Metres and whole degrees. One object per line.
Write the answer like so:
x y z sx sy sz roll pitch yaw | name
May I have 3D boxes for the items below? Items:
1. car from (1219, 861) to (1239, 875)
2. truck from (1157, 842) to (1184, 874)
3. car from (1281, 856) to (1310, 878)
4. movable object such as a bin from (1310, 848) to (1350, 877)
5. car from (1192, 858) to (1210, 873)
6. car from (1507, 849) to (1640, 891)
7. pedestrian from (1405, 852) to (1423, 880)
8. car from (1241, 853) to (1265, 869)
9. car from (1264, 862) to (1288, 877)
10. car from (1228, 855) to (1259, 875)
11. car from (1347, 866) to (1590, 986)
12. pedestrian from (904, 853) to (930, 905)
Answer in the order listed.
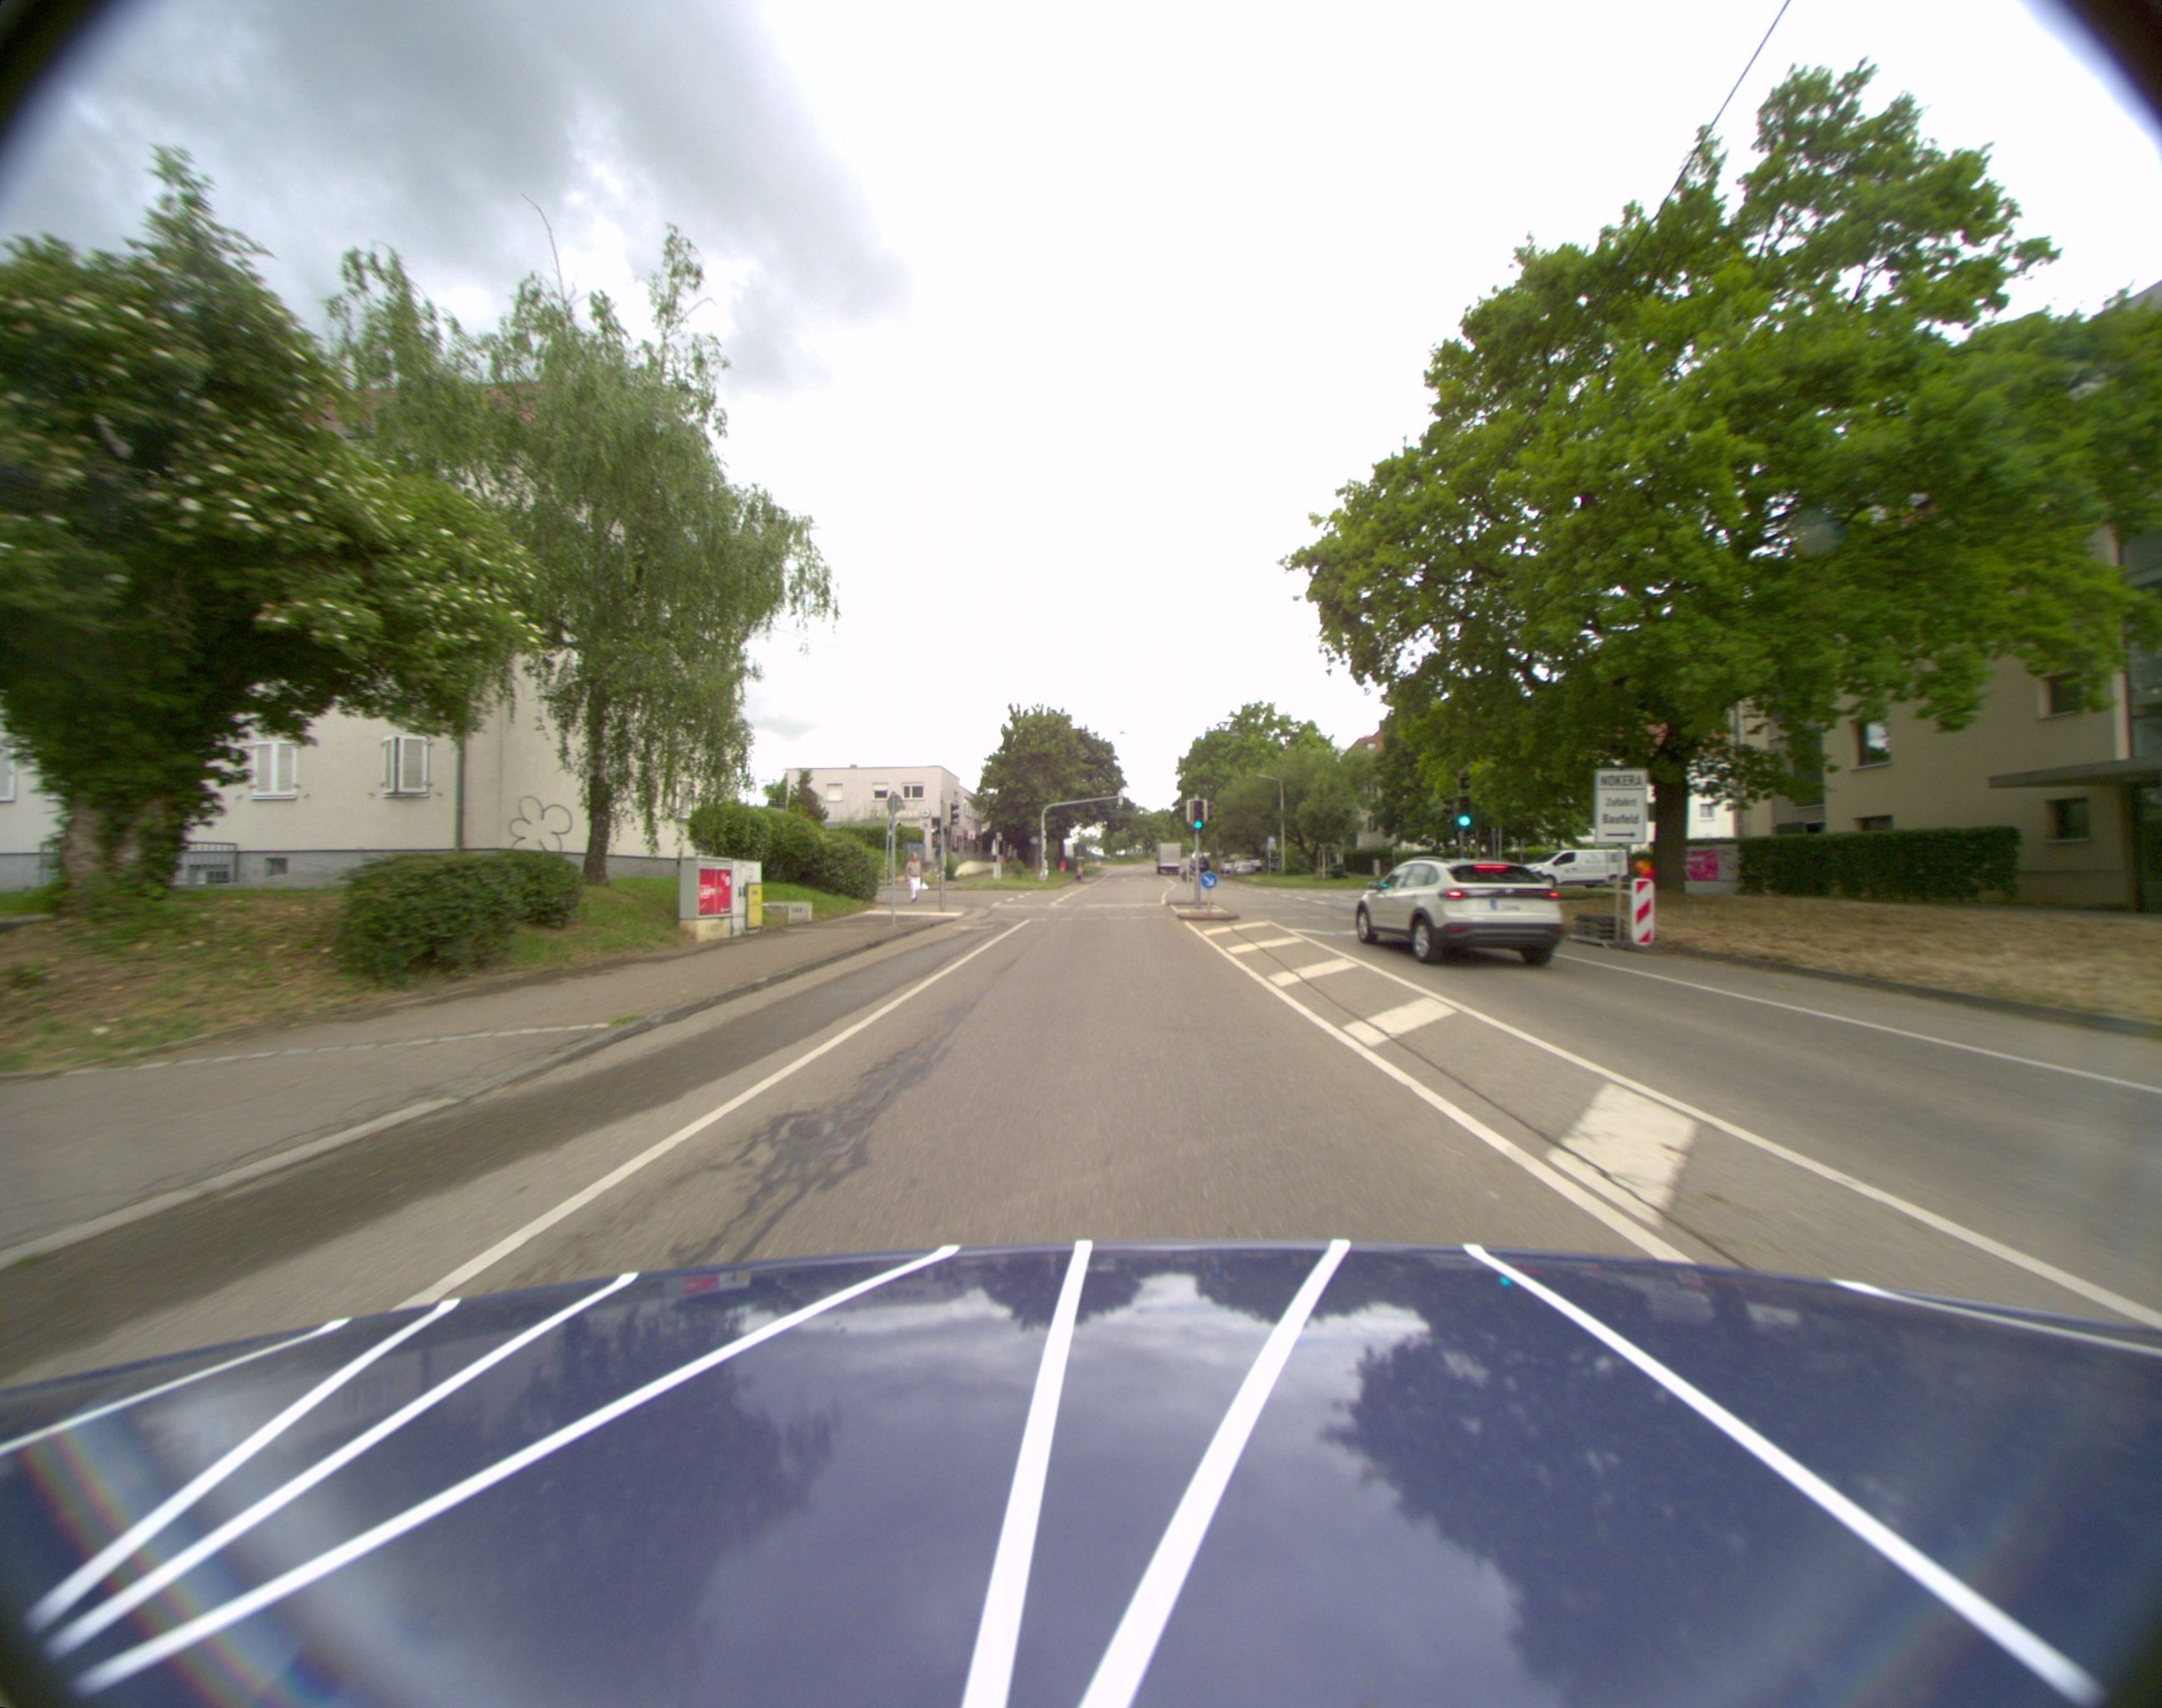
15.582 1.463 80.345 1.604 1.346 4.001 -2 0 5 | car
9.499 0.421 81.282 2.371 3.218 7.218 0 0 3 | truck
19.294 1.160 68.517 1.755 1.878 4.001 -2 0 4 | car
16.970 0.585 51.925 1.099 1.892 3.247 -2 0 -11 | movable object such as a bin
14.257 1.304 90.401 1.997 1.674 4.003 -2 0 9 | car
24.118 0.766 37.380 5.151 1.906 2.001 -2 0 4 | car
21.279 0.769 48.546 0.778 1.746 0.689 -2 0 -28 | pedestrian
17.946 0.747 79.504 1.860 1.596 4.001 -2 0 5 | car
20.129 1.625 78.541 1.679 1.422 3.874 -2 0 4 | car
14.383 0.920 67.462 1.998 1.666 4.547 -2 0 4 | car
5.592 0.936 11.612 1.806 1.455 4.030 0 0 3 | car
-5.442 0.839 25.209 0.658 1.674 0.575 1 -2 4 | pedestrian
